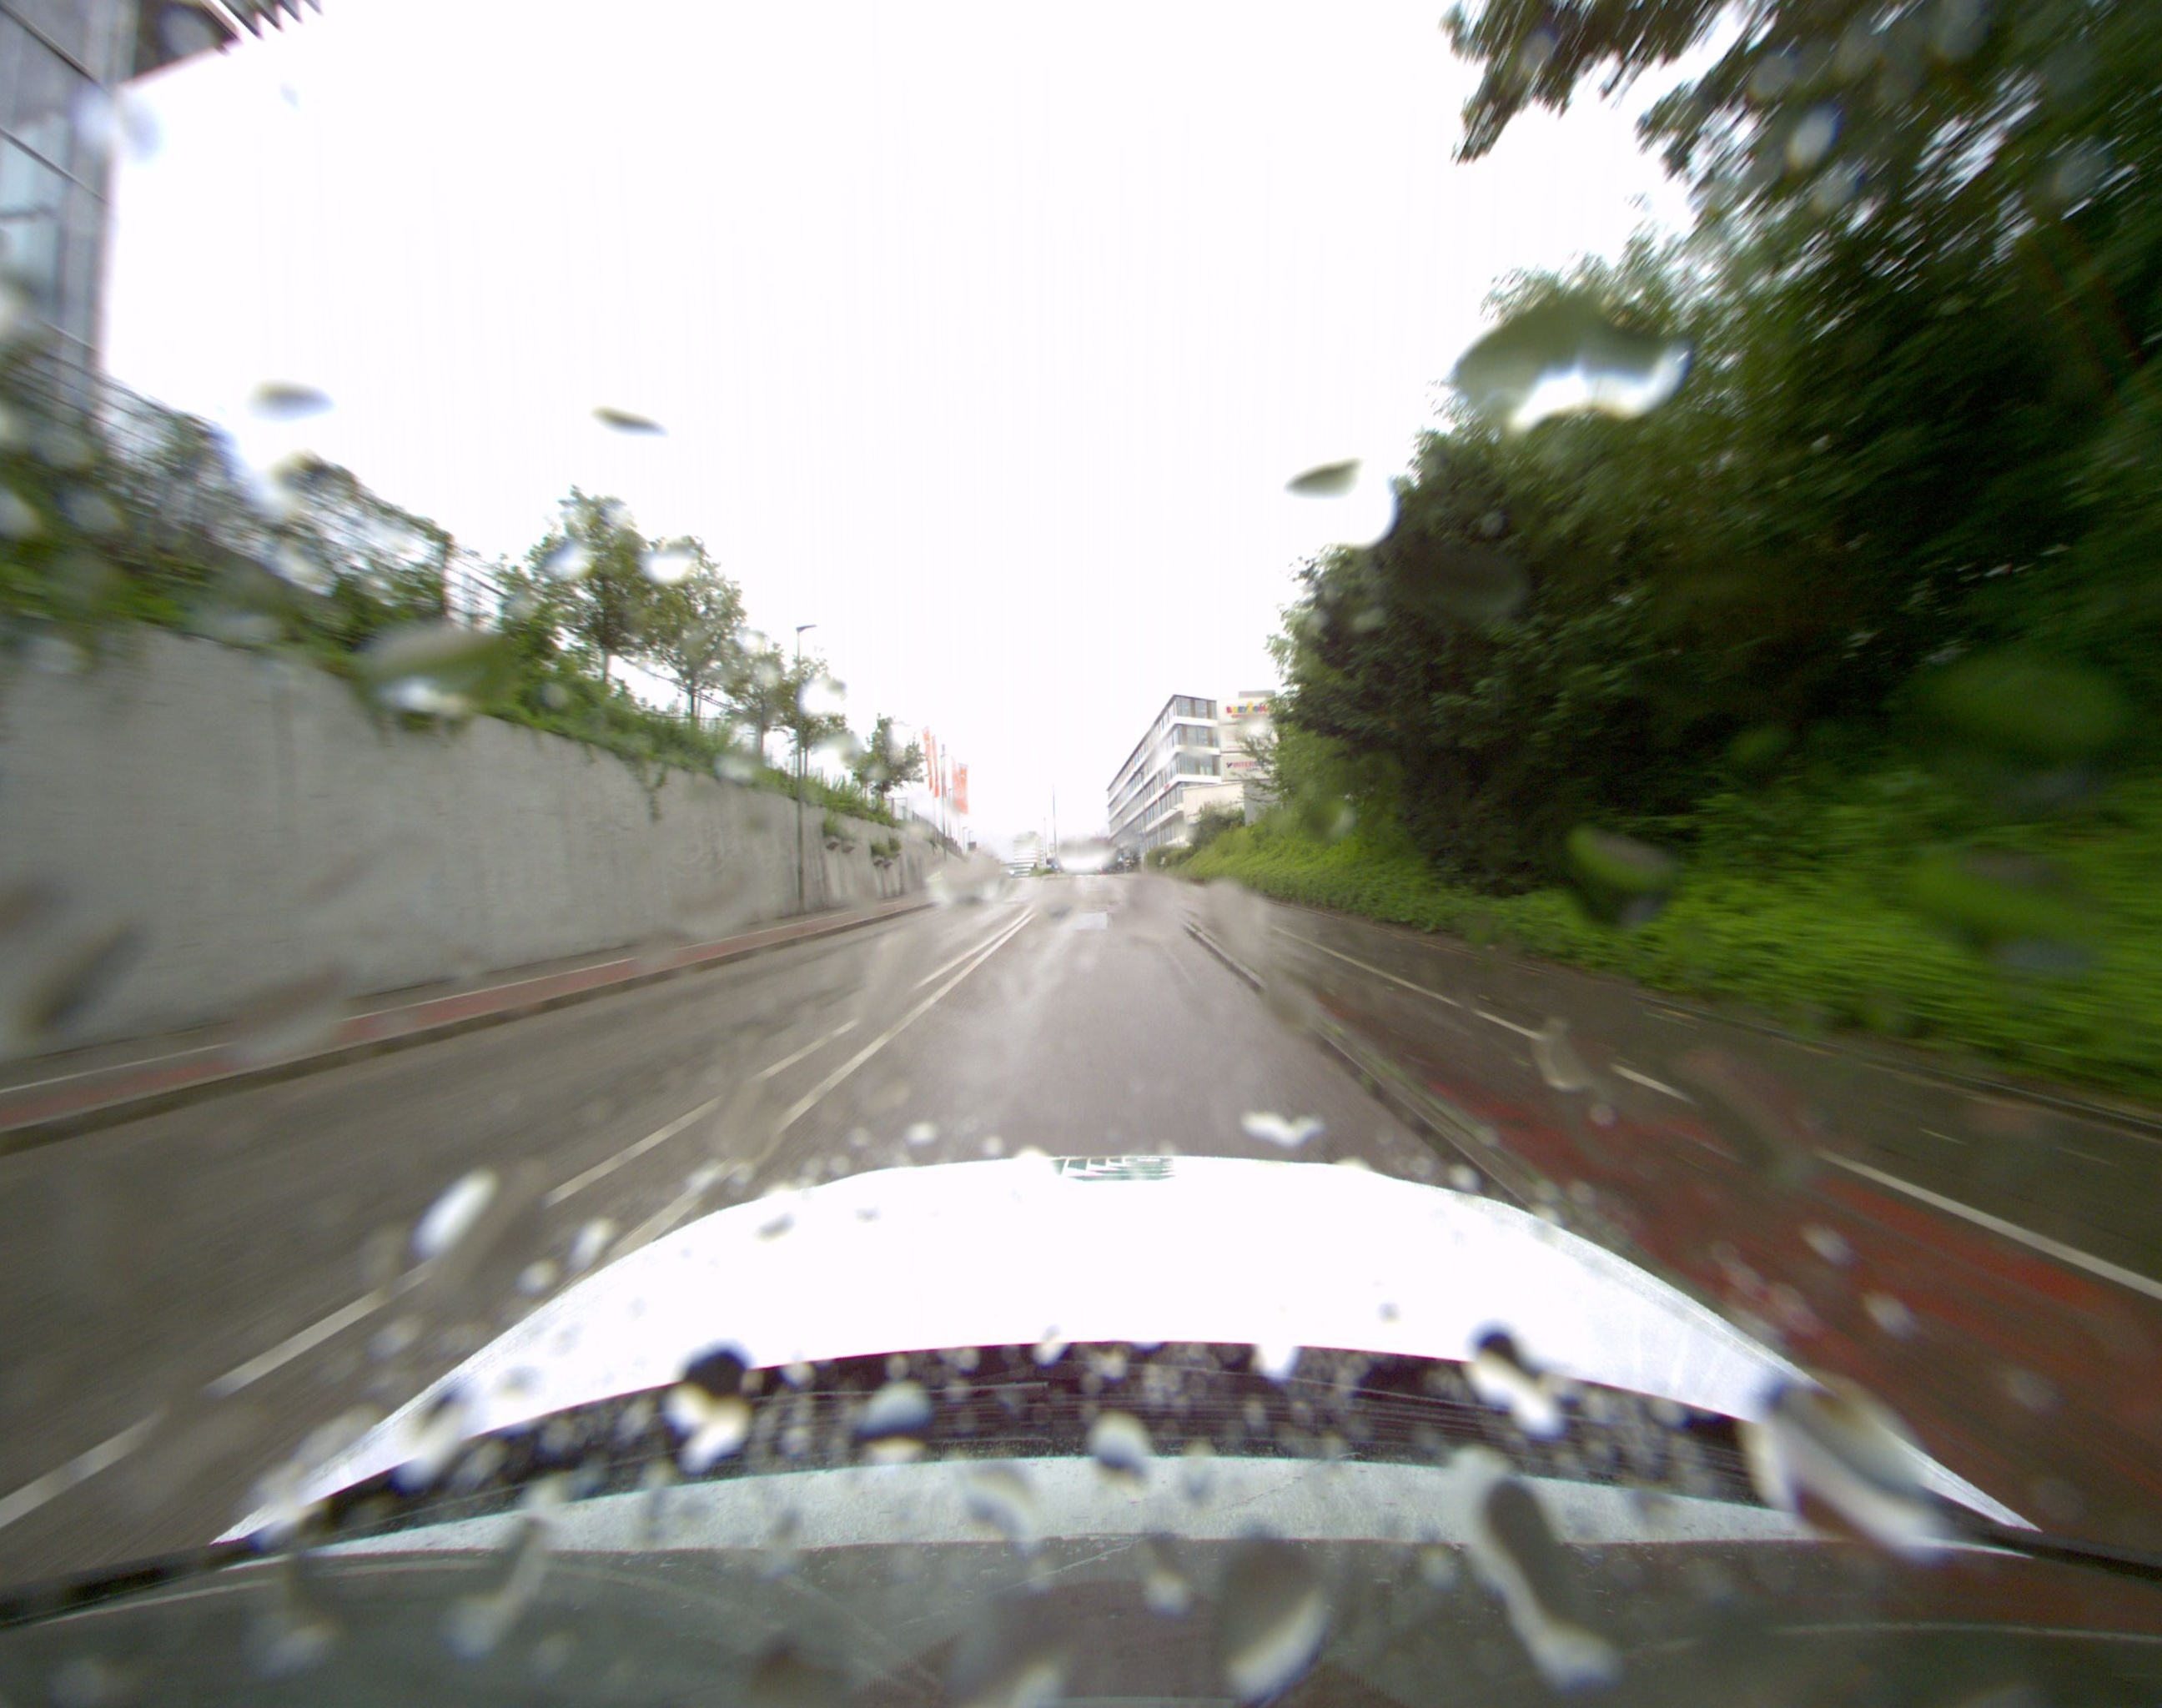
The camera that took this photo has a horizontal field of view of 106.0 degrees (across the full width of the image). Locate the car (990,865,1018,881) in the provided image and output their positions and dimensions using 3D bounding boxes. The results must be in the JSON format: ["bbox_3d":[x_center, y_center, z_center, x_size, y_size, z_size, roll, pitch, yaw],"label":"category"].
[{"bbox_3d":[-7.975,1.922,83.948,2.005,1.426,4.756,-2,0,-16],"label":"car"}]
